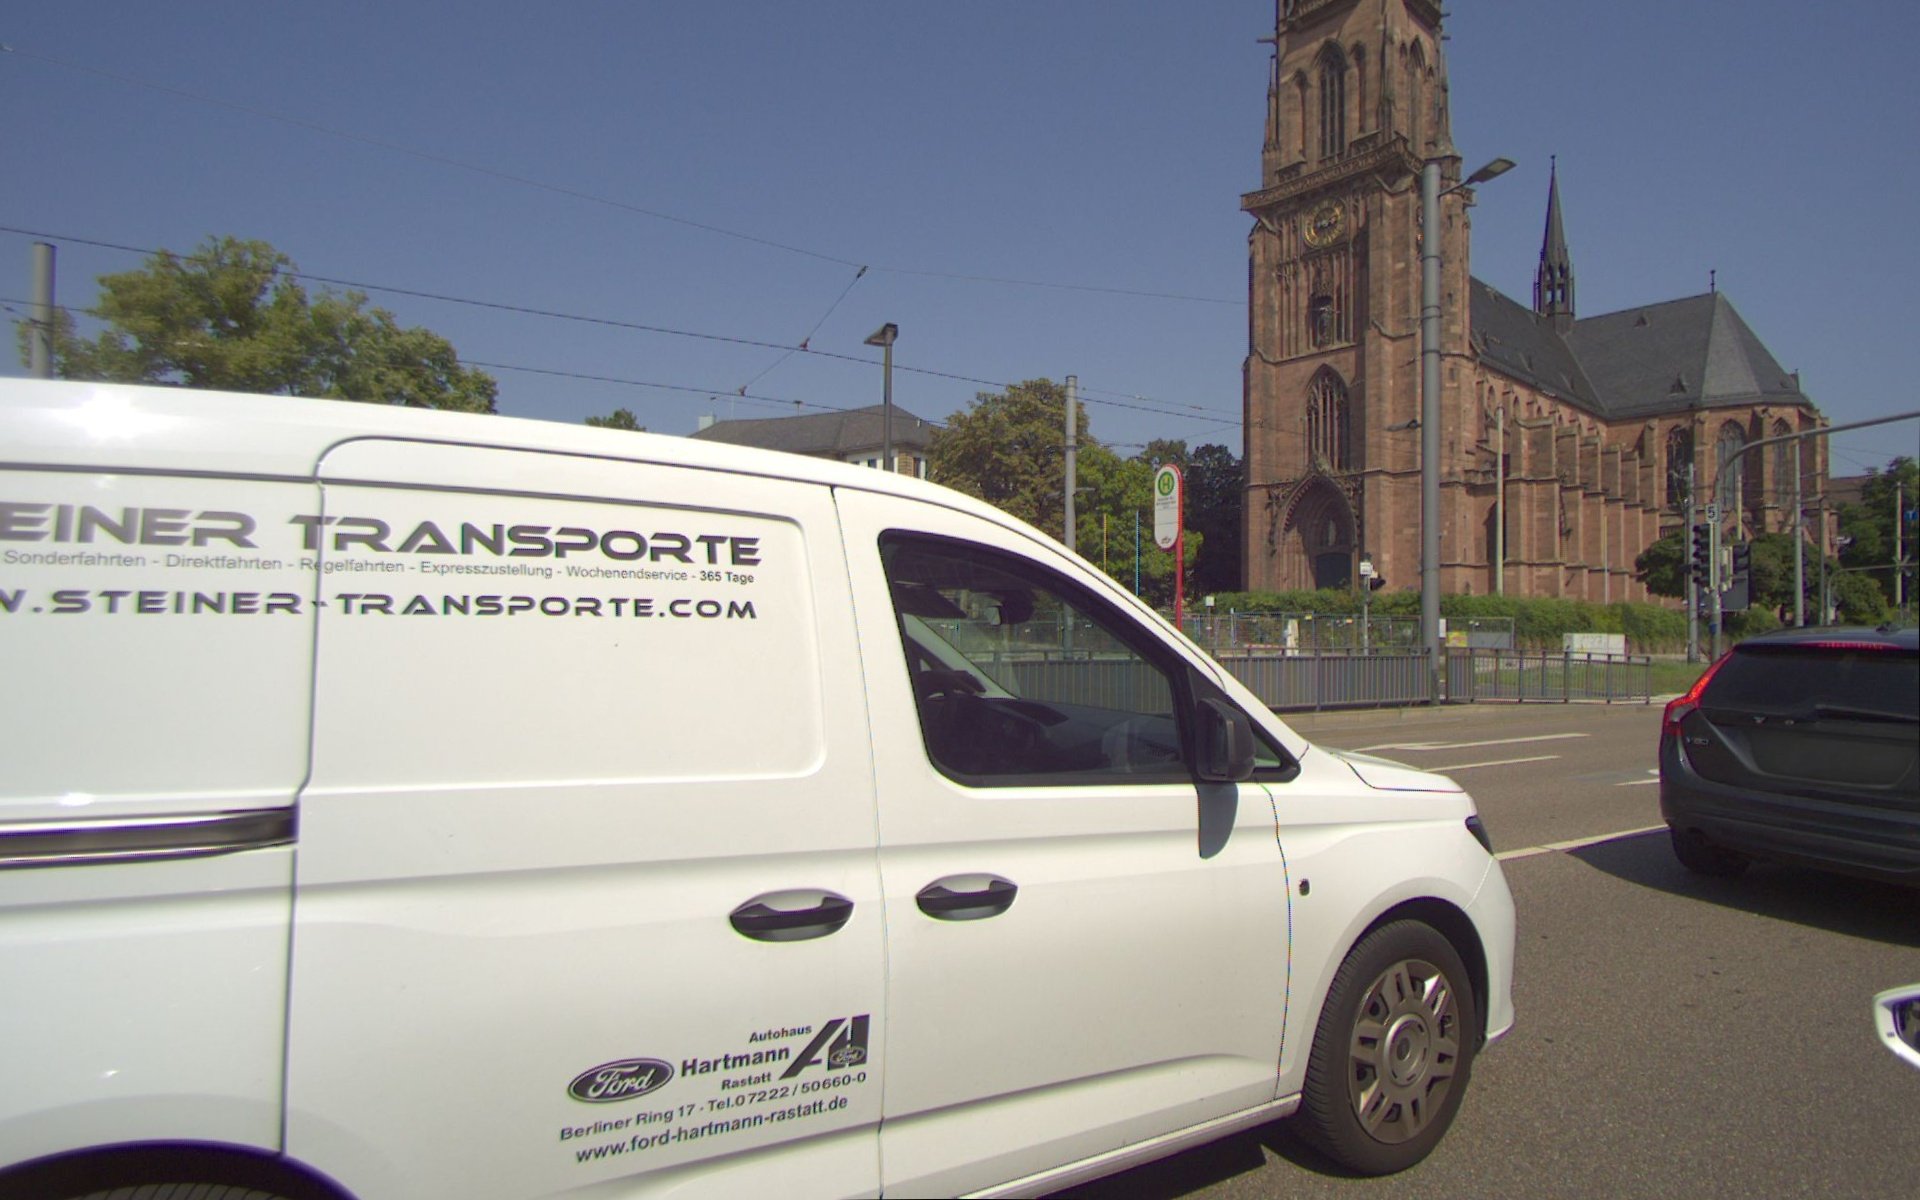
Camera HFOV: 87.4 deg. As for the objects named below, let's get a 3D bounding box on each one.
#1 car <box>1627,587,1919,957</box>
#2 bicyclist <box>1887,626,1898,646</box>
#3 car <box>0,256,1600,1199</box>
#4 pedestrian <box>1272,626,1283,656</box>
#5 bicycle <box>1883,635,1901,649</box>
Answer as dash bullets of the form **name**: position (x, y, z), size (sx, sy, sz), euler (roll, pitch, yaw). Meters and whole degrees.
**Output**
- **car**: position (5.921, 0.797, 5.815), size (4.257, 1.636, 1.739), euler (1, 0, -30)
- **bicyclist**: position (62.719, 2.407, 67.574), size (0.419, 1.339, 0.446), euler (1, -2, -28)
- **car**: position (-0.335, 0.542, 2.689), size (4.189, 1.844, 1.739), euler (1, -1, -30)
- **pedestrian**: position (16.558, 2.154, 52.426), size (0.534, 1.551, 0.435), euler (0, -1, 18)
- **bicycle**: position (62.722, 2.826, 67.572), size (1.457, 0.871, 0.452), euler (1, -2, -29)
